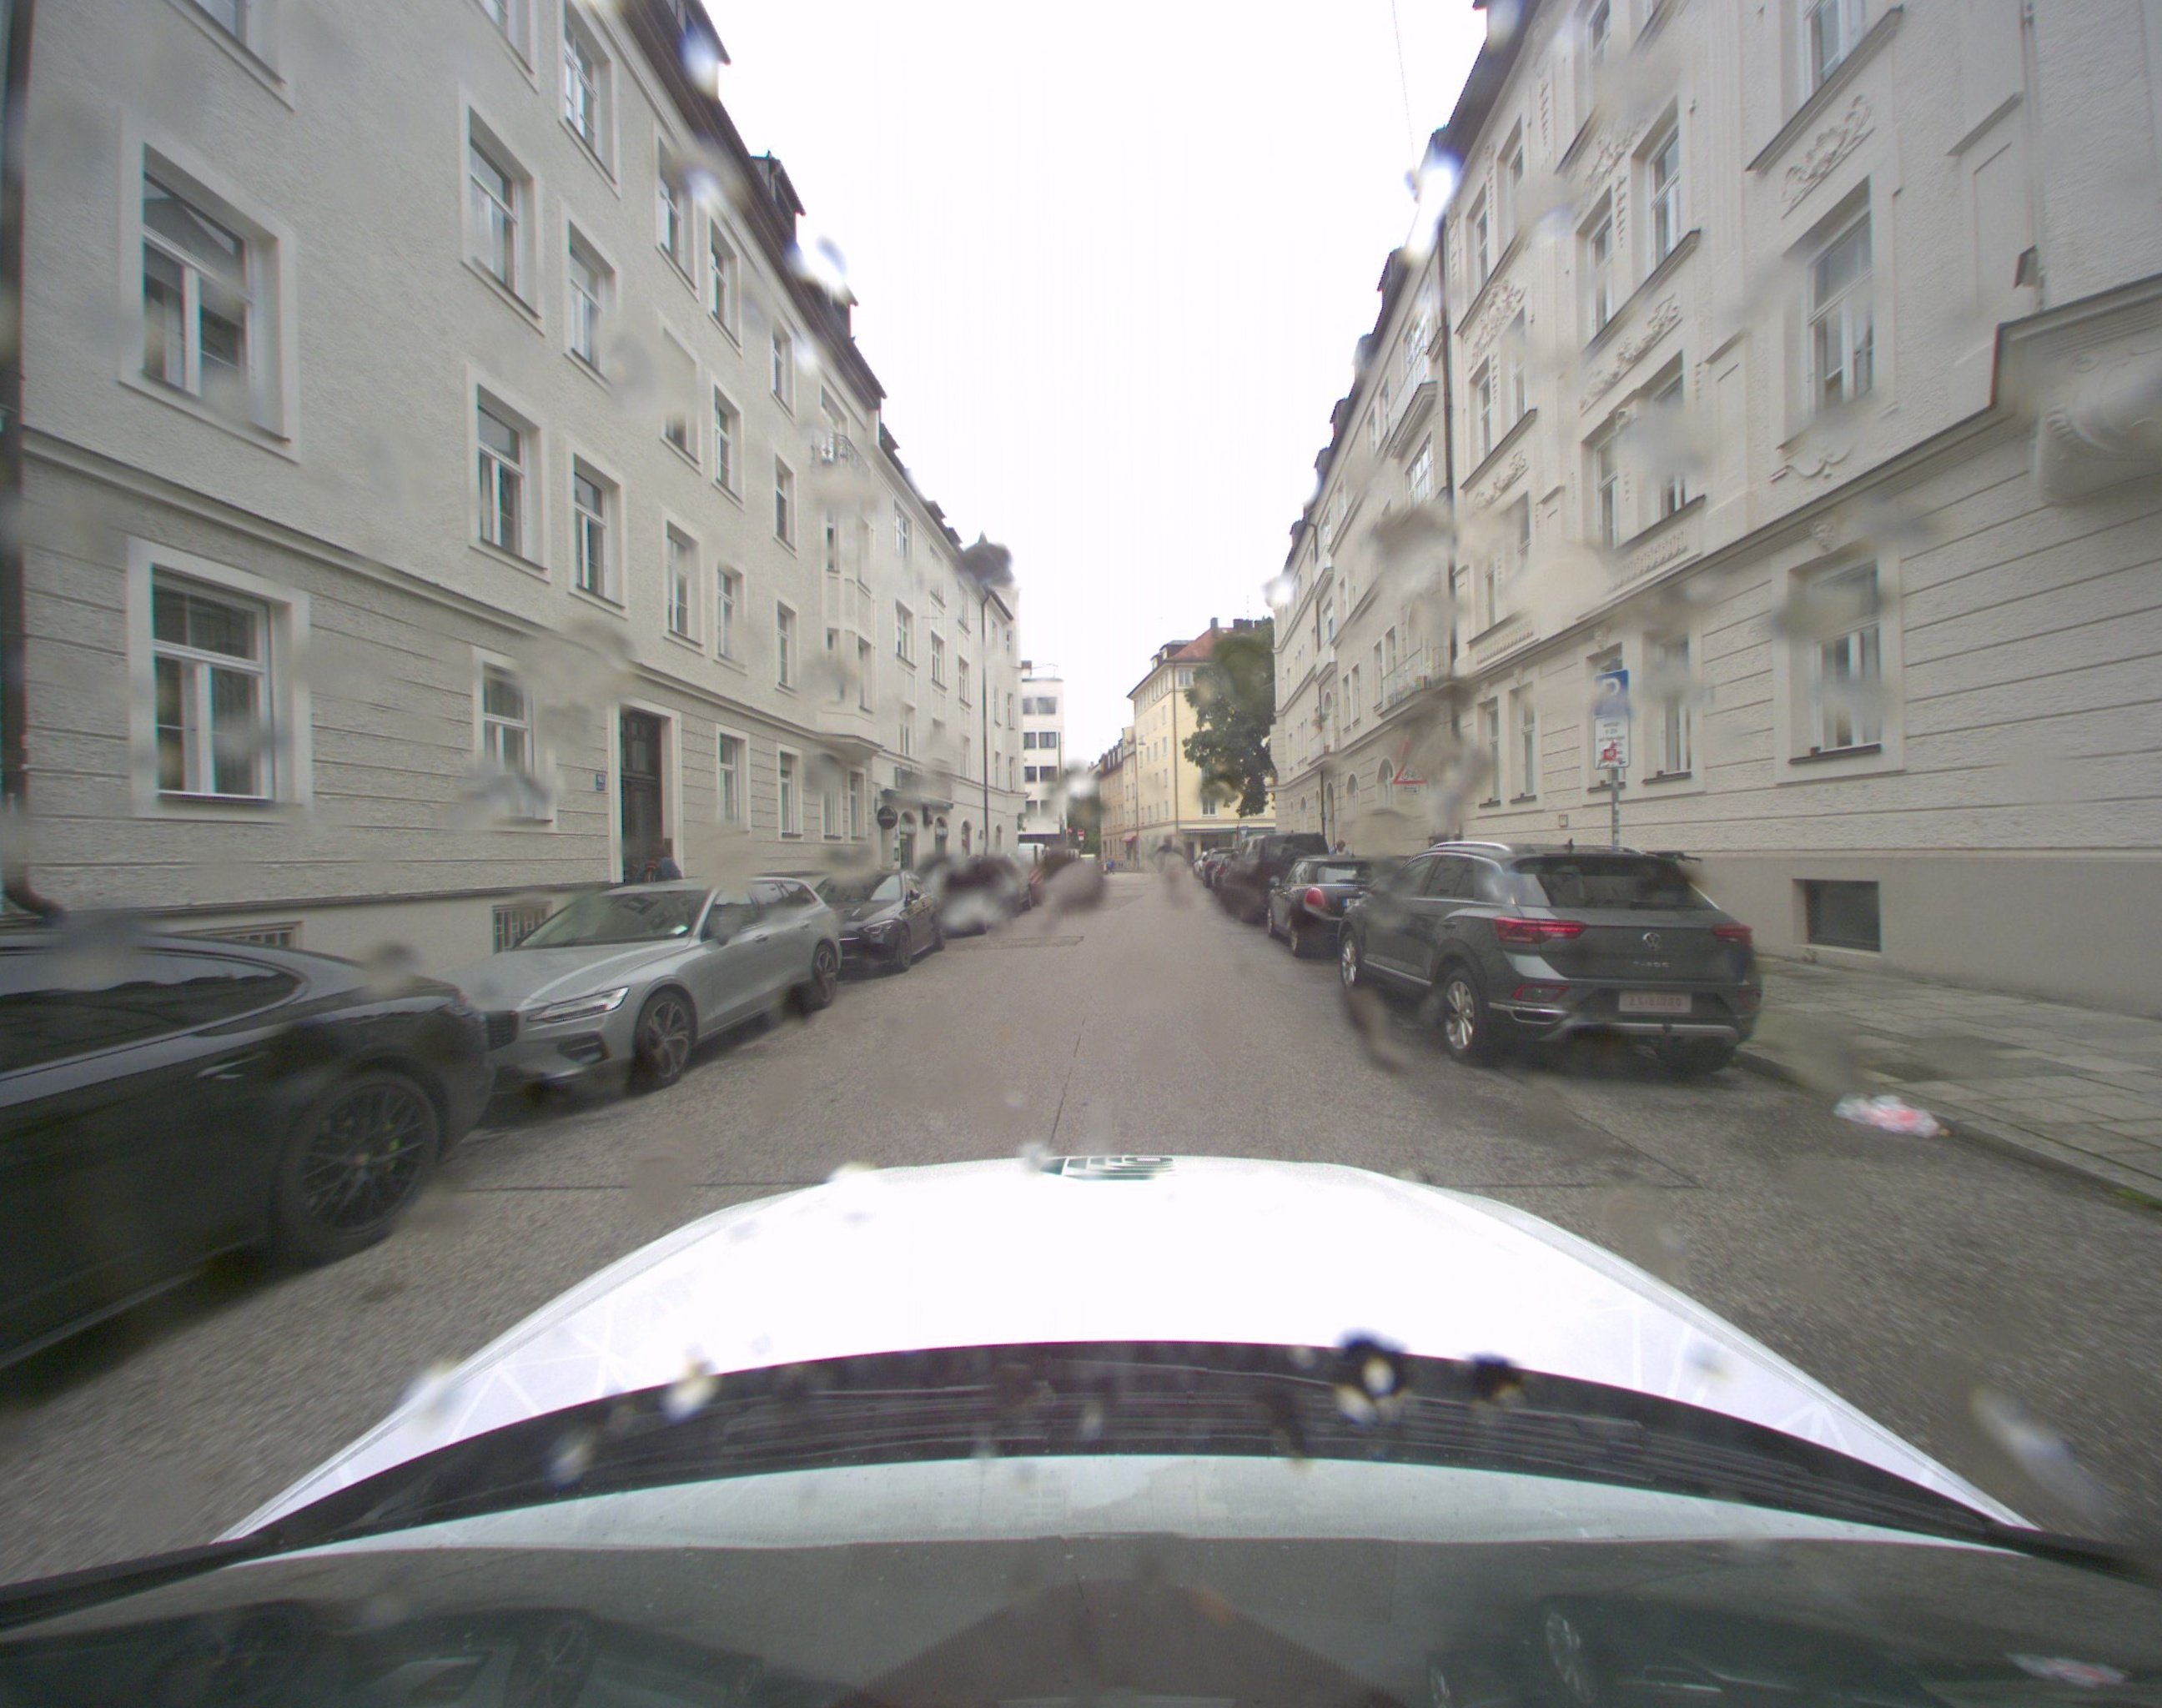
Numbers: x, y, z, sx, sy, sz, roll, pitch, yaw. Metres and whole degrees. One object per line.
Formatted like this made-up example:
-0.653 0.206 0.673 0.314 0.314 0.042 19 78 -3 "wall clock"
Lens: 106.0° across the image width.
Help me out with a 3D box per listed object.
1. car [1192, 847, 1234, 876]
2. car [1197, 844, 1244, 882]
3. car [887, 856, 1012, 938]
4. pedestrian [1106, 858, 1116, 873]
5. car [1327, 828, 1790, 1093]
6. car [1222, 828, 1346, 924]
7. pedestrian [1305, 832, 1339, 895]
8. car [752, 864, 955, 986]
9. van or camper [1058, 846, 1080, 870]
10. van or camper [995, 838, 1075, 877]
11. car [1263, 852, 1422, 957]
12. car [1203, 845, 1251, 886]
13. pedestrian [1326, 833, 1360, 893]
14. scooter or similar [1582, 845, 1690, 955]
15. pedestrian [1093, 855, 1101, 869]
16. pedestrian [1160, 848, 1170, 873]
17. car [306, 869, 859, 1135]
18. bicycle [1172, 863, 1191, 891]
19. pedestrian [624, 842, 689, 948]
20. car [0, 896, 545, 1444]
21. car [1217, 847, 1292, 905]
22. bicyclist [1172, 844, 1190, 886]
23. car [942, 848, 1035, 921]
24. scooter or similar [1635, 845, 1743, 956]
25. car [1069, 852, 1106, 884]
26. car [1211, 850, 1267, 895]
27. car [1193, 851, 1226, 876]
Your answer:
7.306 0.412 45.440 1.744 1.496 3.910 -1 0 1 "car"
6.835 0.415 40.251 1.782 1.713 4.430 -2 0 3 "car"
-2.659 0.822 17.482 1.734 1.487 4.185 -2 0 3 "car"
2.476 0.947 67.137 0.695 1.270 0.652 -3 0 8 "pedestrian"
3.476 0.627 6.900 1.701 1.587 4.002 0 0 2 "car"
4.404 0.422 18.372 1.902 1.885 4.719 0 0 4 "car"
6.888 0.264 23.321 0.700 1.728 0.703 -3 0 1 "pedestrian"
-3.247 0.931 12.607 1.804 1.385 4.443 -3 0 0 "car"
-1.359 0.404 90.459 1.991 2.540 4.750 -2 0 -6 "van or camper"
-3.531 0.279 62.448 5.894 2.677 1.870 -2 -2 -5 "van or camper"
3.896 0.664 12.685 1.655 1.395 3.587 0 0 6 "car"
6.232 0.446 35.169 1.768 1.636 4.383 -1 0 7 "car"
7.605 0.256 23.657 0.677 1.674 0.654 -4 0 1 "pedestrian"
7.090 0.545 10.488 0.537 1.287 1.508 -4 0 12 "scooter or similar"
2.024 1.008 105.847 0.877 1.778 0.771 -2 0 -7 "pedestrian"
5.614 0.436 54.429 0.607 1.661 0.552 -2 0 8 "pedestrian"
-3.652 0.942 7.190 1.787 1.419 4.515 -5 0 4 "car"
3.878 0.864 31.340 0.635 1.004 1.578 -2 0 8 "bicycle"
-7.082 0.666 13.609 0.695 1.707 0.665 -1 0 1 "pedestrian"
-3.872 0.942 2.012 1.843 1.367 4.704 -2 0 1 "car"
5.008 0.585 23.915 1.647 1.525 3.641 -1 0 4 "car"
3.869 0.419 31.399 0.602 1.606 0.759 -2 0 8 "bicyclist"
-2.402 0.749 22.244 1.739 1.673 4.278 -5 0 3 "car"
7.655 0.544 10.314 0.503 1.287 1.356 -4 -1 12 "scooter or similar"
0.408 0.758 45.940 1.668 1.597 3.951 -4 -1 5 "car"
5.671 0.604 29.603 1.697 1.471 4.210 -2 0 7 "car"
7.840 0.557 49.912 1.662 1.435 4.218 -1 0 4 "car"
